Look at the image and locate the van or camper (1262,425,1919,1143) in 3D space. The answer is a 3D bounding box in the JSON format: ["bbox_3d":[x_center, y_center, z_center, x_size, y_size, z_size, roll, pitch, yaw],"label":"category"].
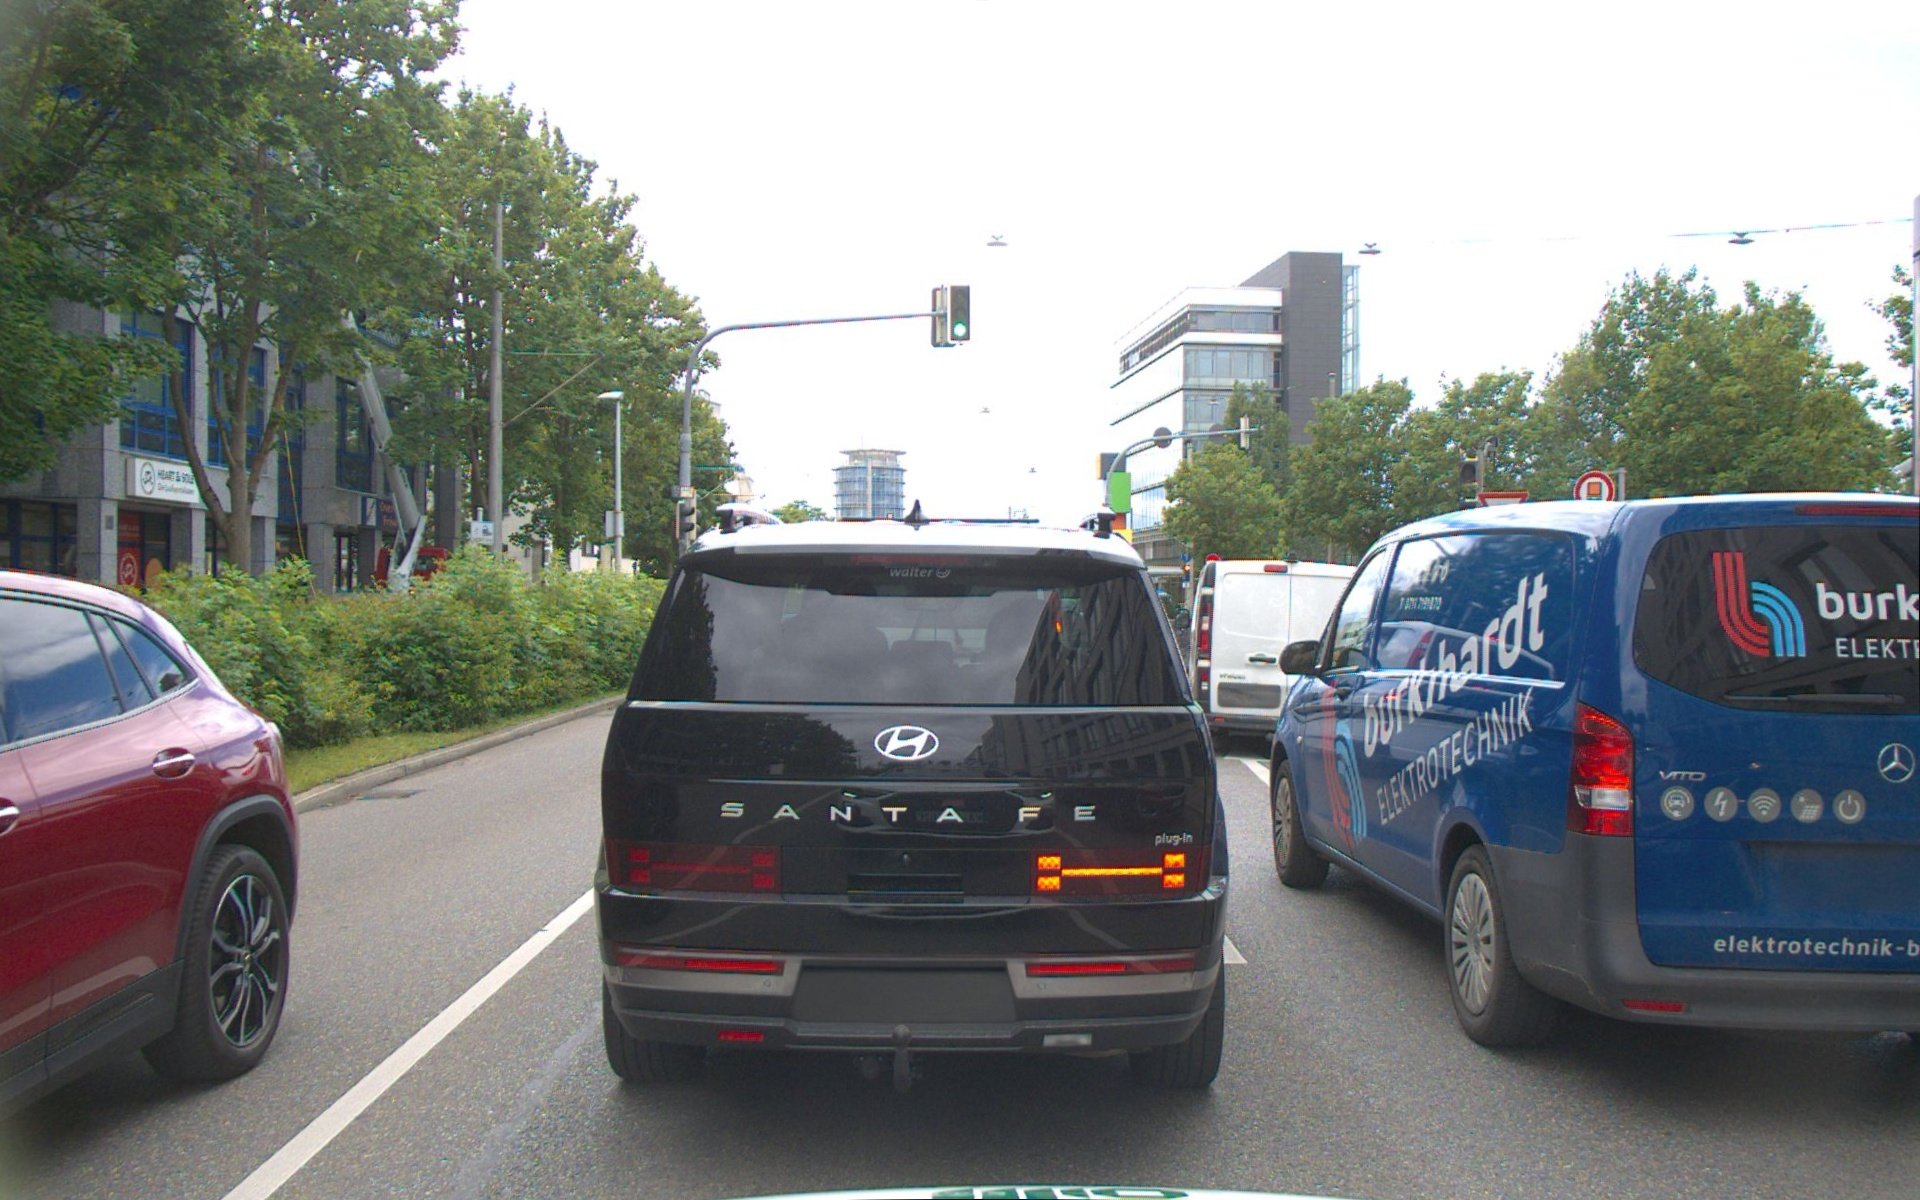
[{"bbox_3d":[2.683,0.489,7.017,1.822,1.944,5.031,0,0,-1],"label":"van or camper"}]

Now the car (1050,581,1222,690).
[{"bbox_3d":[3.161,0.596,28.954,1.740,1.747,4.336,0,-1,24],"label":"car"}]

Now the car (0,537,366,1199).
[{"bbox_3d":[-3.033,0.697,3.727,1.809,1.608,4.116,-2,0,1],"label":"car"}]

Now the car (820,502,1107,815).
[{"bbox_3d":[-0.004,0.375,12.759,1.876,2.038,3.879,0,0,-1],"label":"car"}]

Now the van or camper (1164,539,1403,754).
[{"bbox_3d":[3.399,0.441,18.249,1.952,2.049,4.654,1,0,3],"label":"van or camper"}]

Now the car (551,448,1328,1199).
[{"bbox_3d":[-0.069,0.532,5.844,1.831,1.791,3.879,0,0,-1],"label":"car"}]

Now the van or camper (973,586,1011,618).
[{"bbox_3d":[2.699,0.213,137.095,1.951,2.591,6.583,1,0,12],"label":"van or camper"}]

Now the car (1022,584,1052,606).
[{"bbox_3d":[6.097,-0.378,130.980,1.954,1.713,3.997,1,0,-3],"label":"car"}]
